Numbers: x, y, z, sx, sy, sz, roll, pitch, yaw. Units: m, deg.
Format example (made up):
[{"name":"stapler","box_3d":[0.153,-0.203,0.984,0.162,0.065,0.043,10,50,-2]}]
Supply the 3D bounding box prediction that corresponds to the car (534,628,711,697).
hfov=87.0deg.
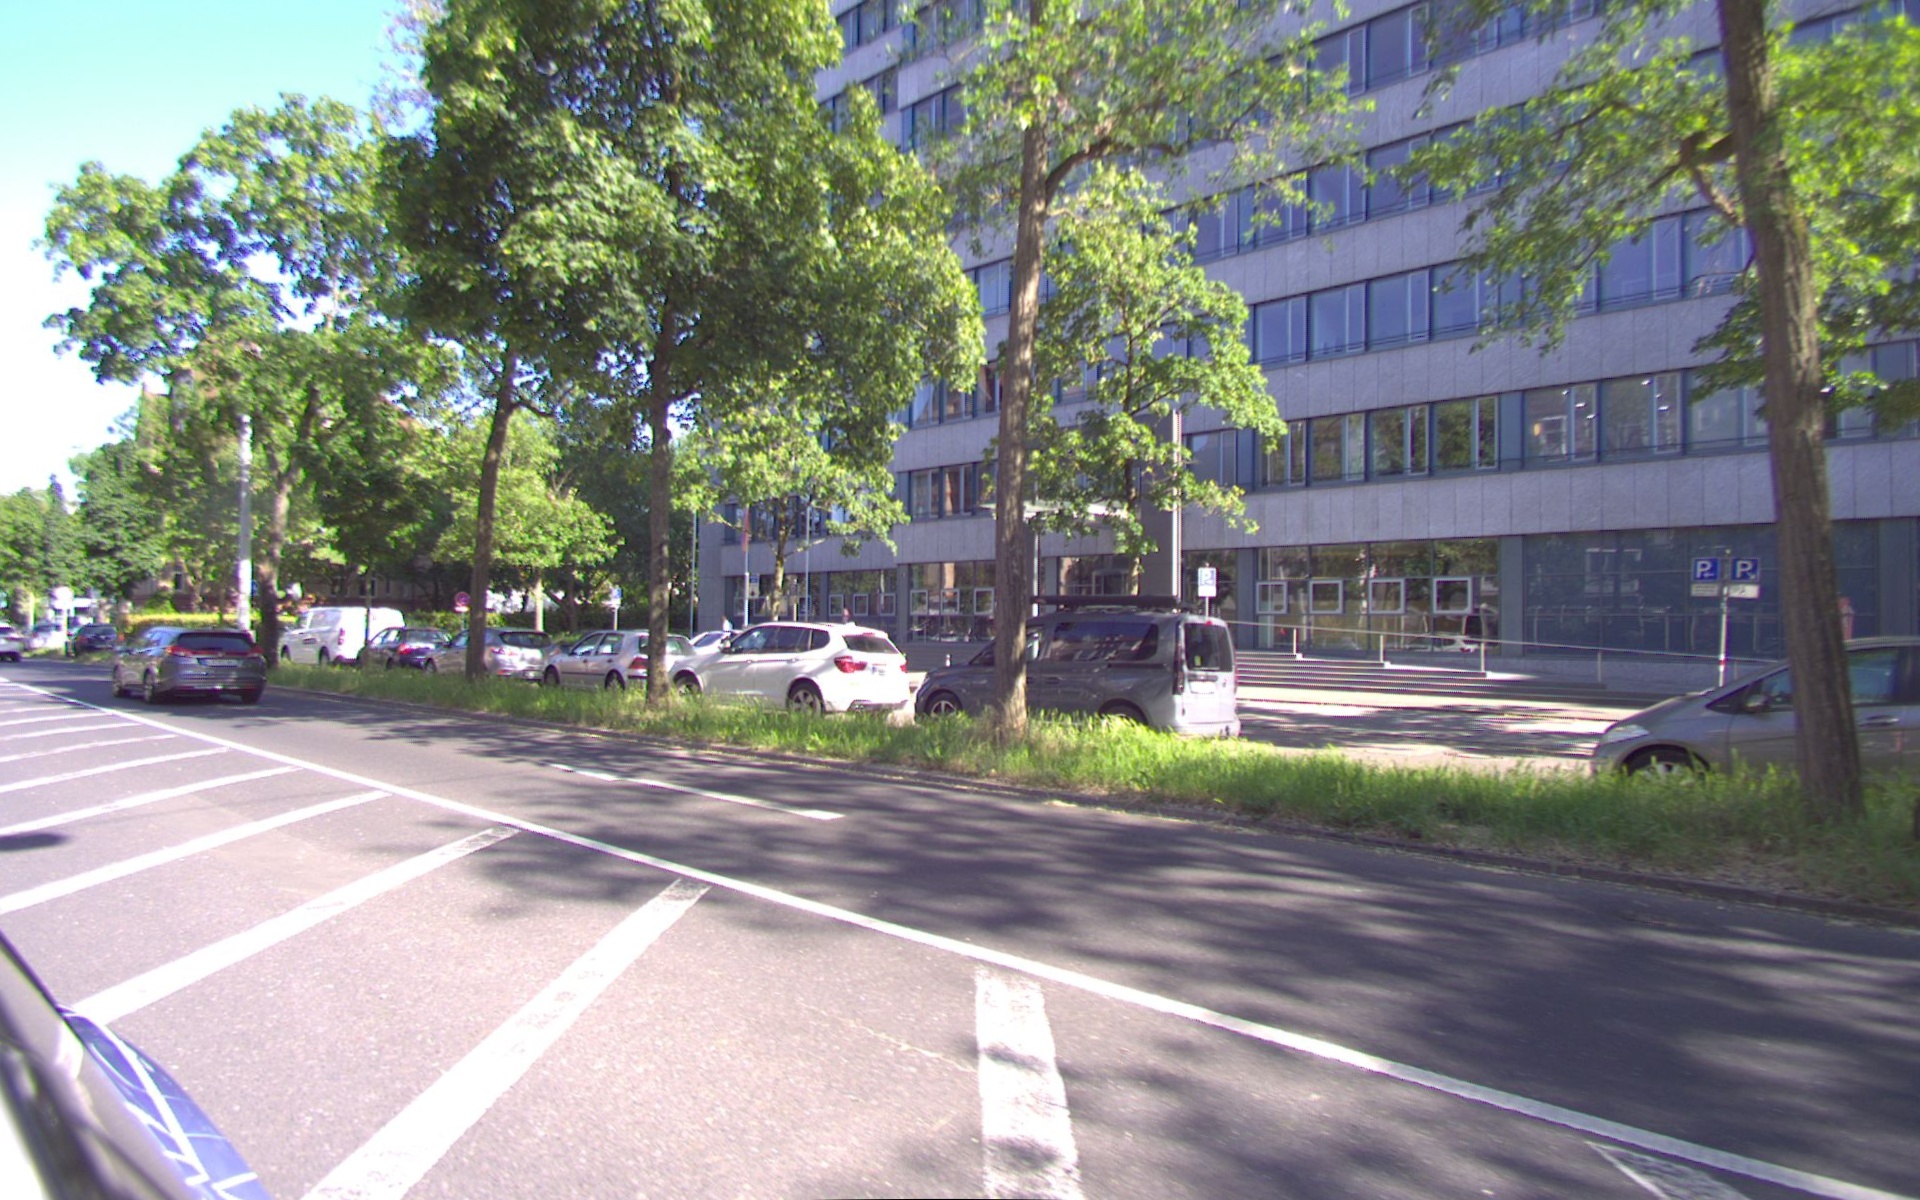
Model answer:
[{"name":"car","box_3d":[-6.749,1.182,20.070,3.845,1.236,1.634,-1,-3,42]}]

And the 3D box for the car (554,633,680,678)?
[{"name":"car","box_3d":[-12.526,2.003,37.138,1.895,1.564,3.944,-1,-3,42]}]

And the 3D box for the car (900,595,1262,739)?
[{"name":"car","box_3d":[1.426,0.789,13.072,4.445,1.561,1.712,-1,-3,40]}]

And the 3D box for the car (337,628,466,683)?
[{"name":"car","box_3d":[-14.954,1.445,27.016,4.186,1.343,1.658,-1,-3,41]}]

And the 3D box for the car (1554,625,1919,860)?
[{"name":"car","box_3d":[7.208,1.048,8.002,4.081,1.659,1.754,-1,-3,41]}]

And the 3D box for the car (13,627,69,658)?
[{"name":"car","box_3d":[-45.351,2.071,49.911,3.998,1.425,1.585,-1,-3,41]}]

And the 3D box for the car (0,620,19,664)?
[{"name":"car","box_3d":[-36.978,1.559,38.065,4.185,1.596,1.769,-1,-3,40]}]

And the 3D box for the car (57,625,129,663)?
[{"name":"car","box_3d":[-36.591,1.833,42.693,3.998,1.501,1.718,-1,-3,41]}]

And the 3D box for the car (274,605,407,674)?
[{"name":"car","box_3d":[-18.784,1.181,30.628,4.521,1.923,2.044,-1,-3,39]}]

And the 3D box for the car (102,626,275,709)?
[{"name":"car","box_3d":[-15.054,1.259,19.686,4.185,1.433,1.769,-1,-4,40]}]

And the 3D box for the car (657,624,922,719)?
[{"name":"car","box_3d":[-2.942,1.126,17.051,4.481,1.394,1.701,-1,-2,35]}]

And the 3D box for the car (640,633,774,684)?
[{"name":"car","box_3d":[-8.371,1.906,33.725,1.895,1.564,3.944,-1,-3,42]}]

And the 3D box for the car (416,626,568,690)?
[{"name":"car","box_3d":[-10.978,1.300,23.641,3.965,1.355,1.636,-1,-3,39]}]

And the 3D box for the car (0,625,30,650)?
[{"name":"car","box_3d":[-57.186,2.240,60.705,3.998,1.425,1.585,-1,-3,41]}]
